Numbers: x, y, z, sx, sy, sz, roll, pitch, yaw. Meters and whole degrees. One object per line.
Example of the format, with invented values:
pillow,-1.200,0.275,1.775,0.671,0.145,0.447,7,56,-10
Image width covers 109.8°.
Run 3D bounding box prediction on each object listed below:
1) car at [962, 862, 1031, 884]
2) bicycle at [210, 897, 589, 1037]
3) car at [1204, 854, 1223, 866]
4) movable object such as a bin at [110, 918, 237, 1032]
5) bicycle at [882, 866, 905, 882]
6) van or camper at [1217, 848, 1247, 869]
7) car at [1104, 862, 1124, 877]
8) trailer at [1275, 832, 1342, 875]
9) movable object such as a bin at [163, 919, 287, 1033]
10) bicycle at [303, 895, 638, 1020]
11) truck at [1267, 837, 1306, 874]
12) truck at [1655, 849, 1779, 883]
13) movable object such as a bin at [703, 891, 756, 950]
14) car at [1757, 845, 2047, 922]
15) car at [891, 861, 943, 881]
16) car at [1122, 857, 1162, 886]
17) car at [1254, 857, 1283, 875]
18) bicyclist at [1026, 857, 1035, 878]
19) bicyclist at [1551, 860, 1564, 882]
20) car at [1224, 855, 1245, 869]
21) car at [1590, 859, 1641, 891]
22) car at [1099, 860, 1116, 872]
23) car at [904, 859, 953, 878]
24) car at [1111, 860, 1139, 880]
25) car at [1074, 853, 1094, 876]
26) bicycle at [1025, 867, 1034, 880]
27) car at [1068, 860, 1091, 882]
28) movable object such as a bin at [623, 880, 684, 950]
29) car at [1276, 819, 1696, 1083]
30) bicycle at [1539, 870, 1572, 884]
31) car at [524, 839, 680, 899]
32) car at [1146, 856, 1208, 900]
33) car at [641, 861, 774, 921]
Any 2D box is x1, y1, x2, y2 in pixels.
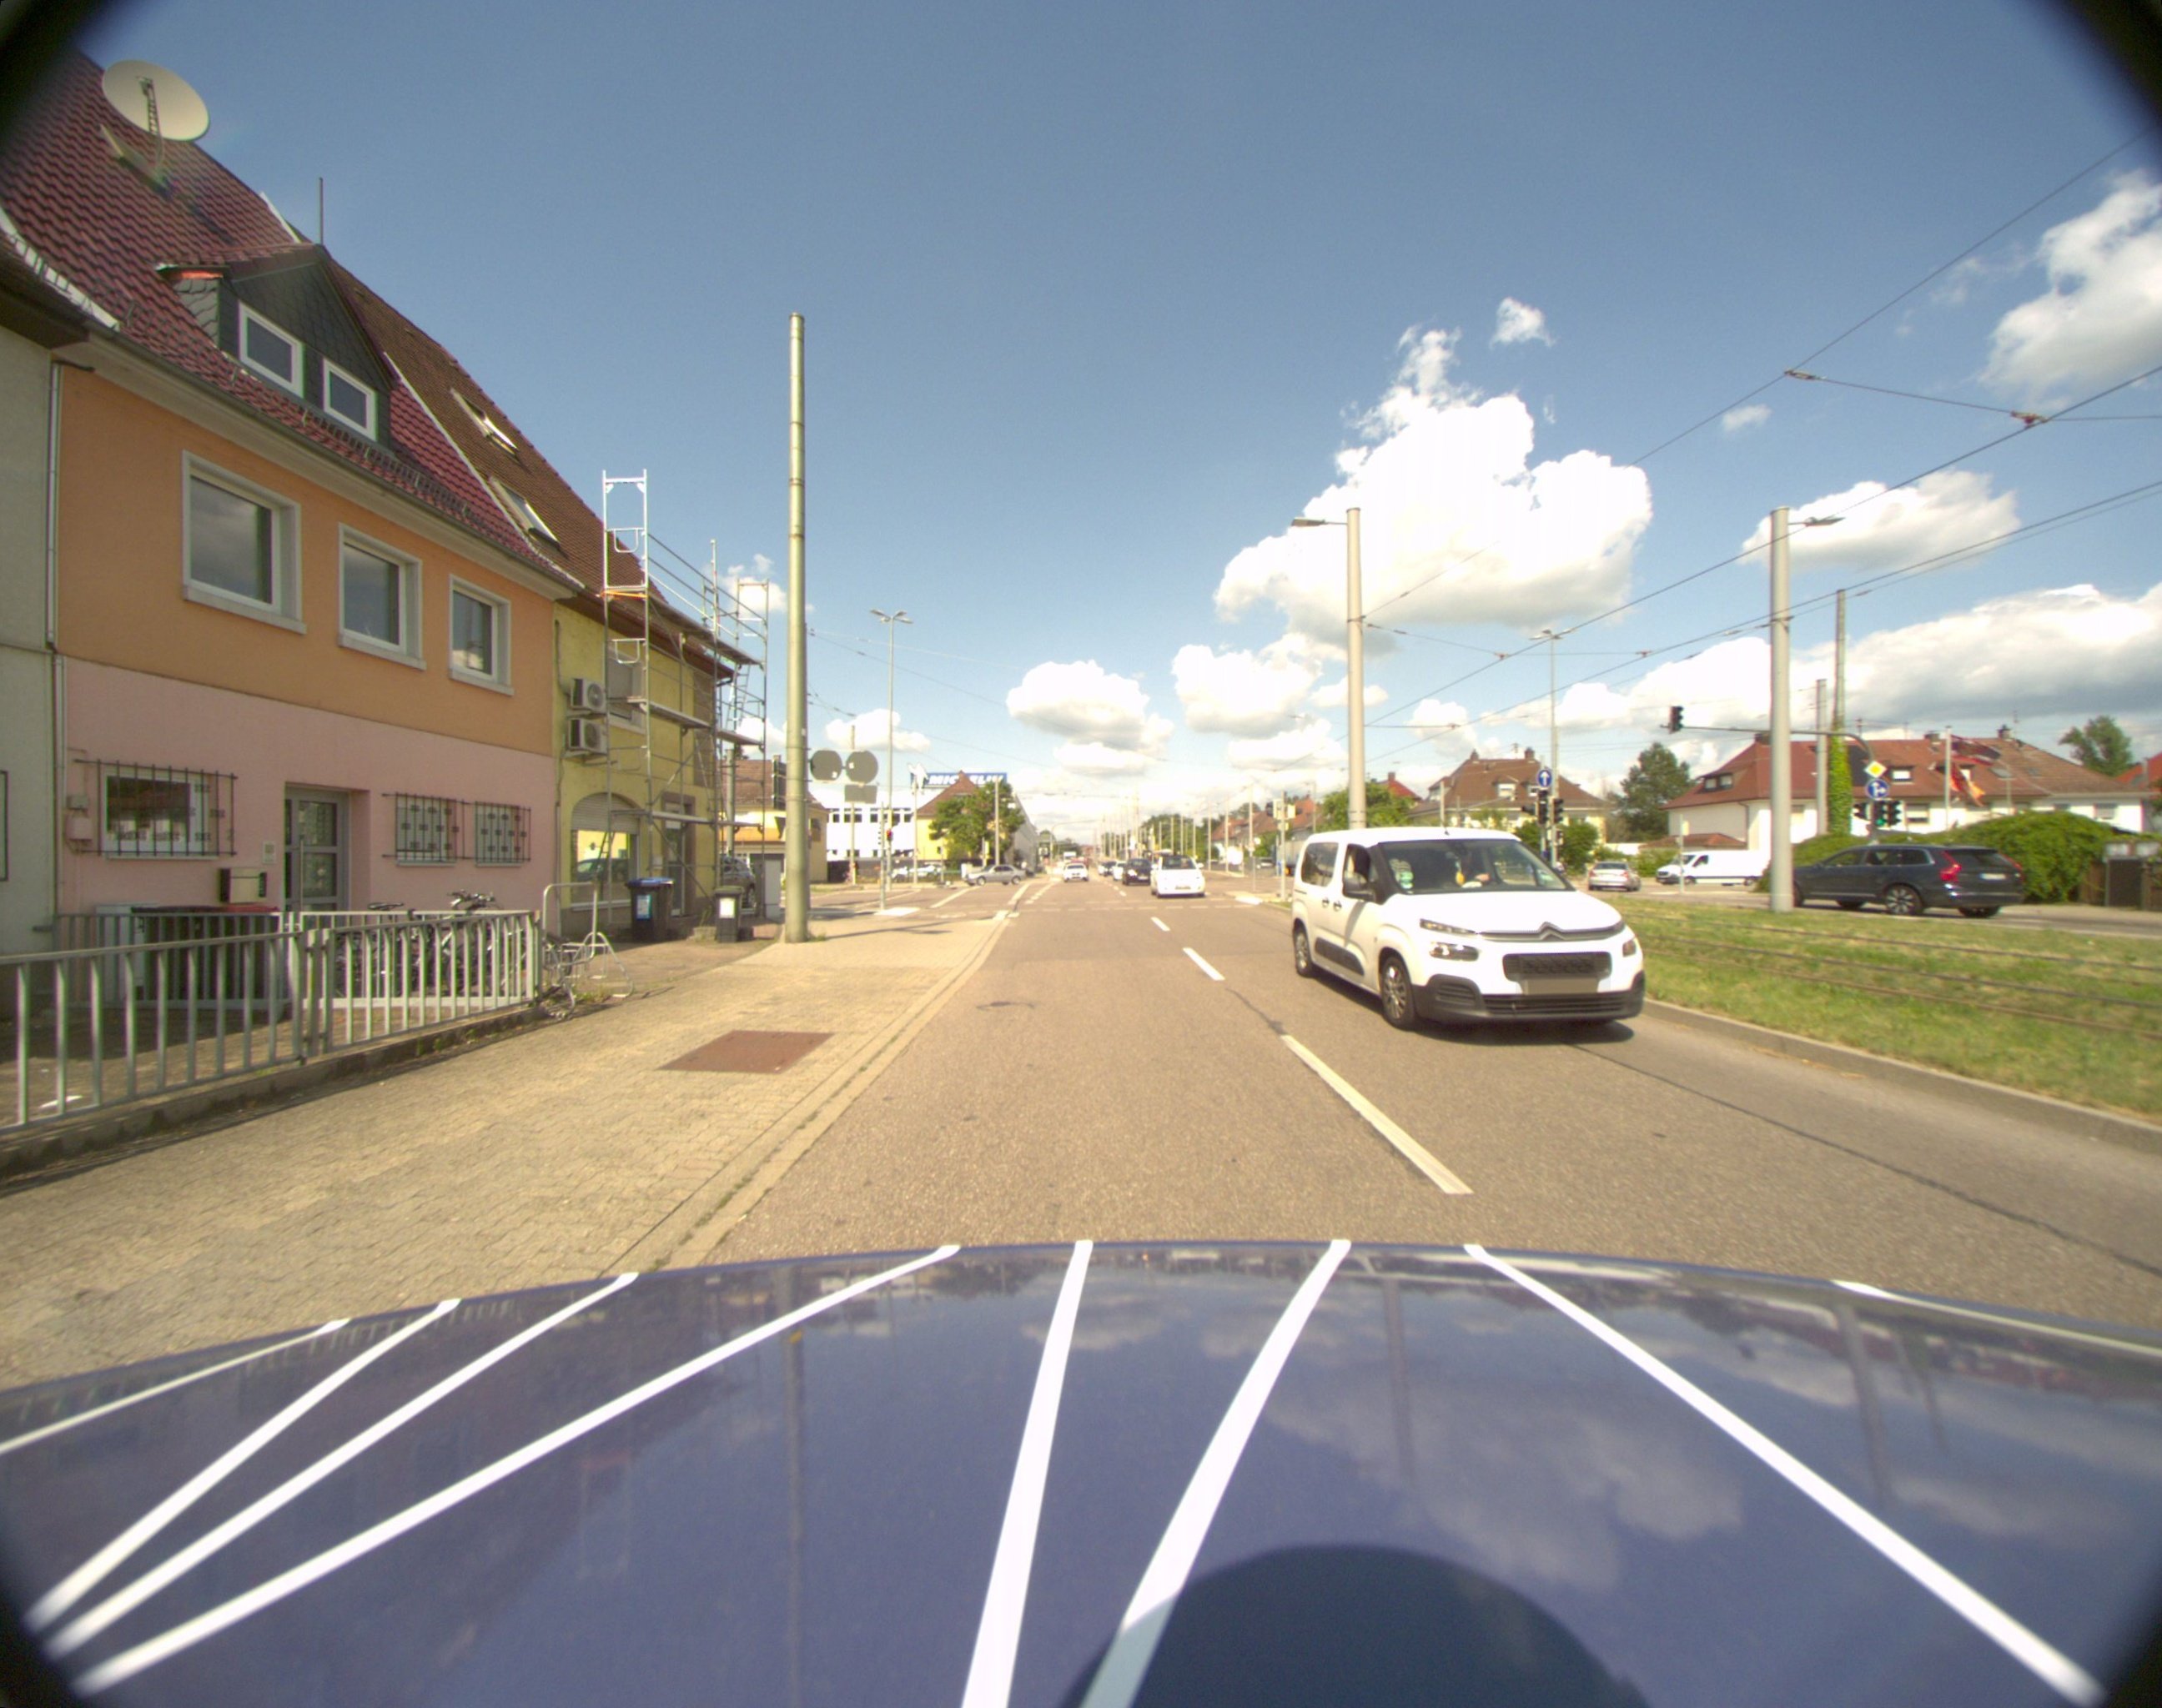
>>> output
car,-5.900,1.307,53.374,4.470,1.389,1.722,-1,-1,-33
bicycle,-5.985,0.976,6.769,2.733,1.113,0.691,1,1,0
car,18.959,0.794,109.084,1.998,1.543,4.177,3,0,1
movable object such as a bin,-8.229,1.080,6.908,0.469,0.941,0.558,0,1,0
bicycle,-14.329,1.543,58.094,1.576,1.131,0.380,-2,1,-28
van or camper,22.068,0.599,111.533,2.331,2.912,7.751,-1,0,-4
car,3.311,1.553,77.175,1.698,1.350,4.498,-2,0,-1
trailer,22.200,0.027,75.158,2.606,3.798,12.837,2,-1,0
movable object such as a bin,-7.752,1.090,6.901,0.469,0.941,0.558,0,1,0
bicycle,-5.954,0.994,7.527,2.668,1.099,0.786,1,1,0
truck,22.201,0.177,82.396,2.605,3.798,5.668,2,-1,1
truck,39.931,0.749,47.793,6.199,1.910,1.690,-2,1,3
movable object such as a bin,-5.894,1.103,12.774,0.512,0.913,0.741,-1,1,1
car,20.487,0.654,19.401,2.020,1.701,4.936,0,0,-1
car,-14.103,1.440,65.522,4.118,1.587,1.800,-1,-1,-6
car,3.238,0.905,40.974,1.680,1.414,3.557,-2,0,-3
car,19.580,1.257,79.522,1.799,1.804,4.712,1,0,0
bicyclist,-4.274,1.158,64.733,0.652,1.727,0.983,-2,1,-7
bicyclist,32.127,1.128,51.261,0.501,1.489,0.602,-2,1,2
car,19.100,0.951,94.824,1.799,1.627,4.471,1,0,2
car,25.324,0.933,35.947,1.795,1.379,4.481,1,0,37
car,3.162,1.452,91.894,1.698,1.350,4.498,-2,0,-1
car,-13.687,1.305,68.490,4.118,1.587,1.800,-1,-1,-6
car,3.272,1.158,56.884,1.698,1.350,4.498,-2,0,-1
car,0.229,1.051,76.785,1.788,2.134,5.168,-2,0,-1
bicycle,-4.400,1.656,64.914,0.652,1.111,1.587,-2,0,-7
car,-0.148,1.339,60.024,1.664,1.564,3.999,-2,0,-1
movable object such as a bin,-7.110,1.000,12.672,0.512,1.099,0.855,-1,1,1
car,3.417,0.677,7.521,1.799,1.804,4.329,-2,0,0
bicycle,31.983,1.559,51.237,1.808,0.830,0.602,-2,1,2
car,-14.258,0.406,22.947,1.998,1.586,4.131,-2,0,0
car,3.494,0.840,28.156,1.680,1.495,3.393,-2,0,-3
car,-11.398,1.056,23.560,1.998,1.586,4.131,-2,0,0
